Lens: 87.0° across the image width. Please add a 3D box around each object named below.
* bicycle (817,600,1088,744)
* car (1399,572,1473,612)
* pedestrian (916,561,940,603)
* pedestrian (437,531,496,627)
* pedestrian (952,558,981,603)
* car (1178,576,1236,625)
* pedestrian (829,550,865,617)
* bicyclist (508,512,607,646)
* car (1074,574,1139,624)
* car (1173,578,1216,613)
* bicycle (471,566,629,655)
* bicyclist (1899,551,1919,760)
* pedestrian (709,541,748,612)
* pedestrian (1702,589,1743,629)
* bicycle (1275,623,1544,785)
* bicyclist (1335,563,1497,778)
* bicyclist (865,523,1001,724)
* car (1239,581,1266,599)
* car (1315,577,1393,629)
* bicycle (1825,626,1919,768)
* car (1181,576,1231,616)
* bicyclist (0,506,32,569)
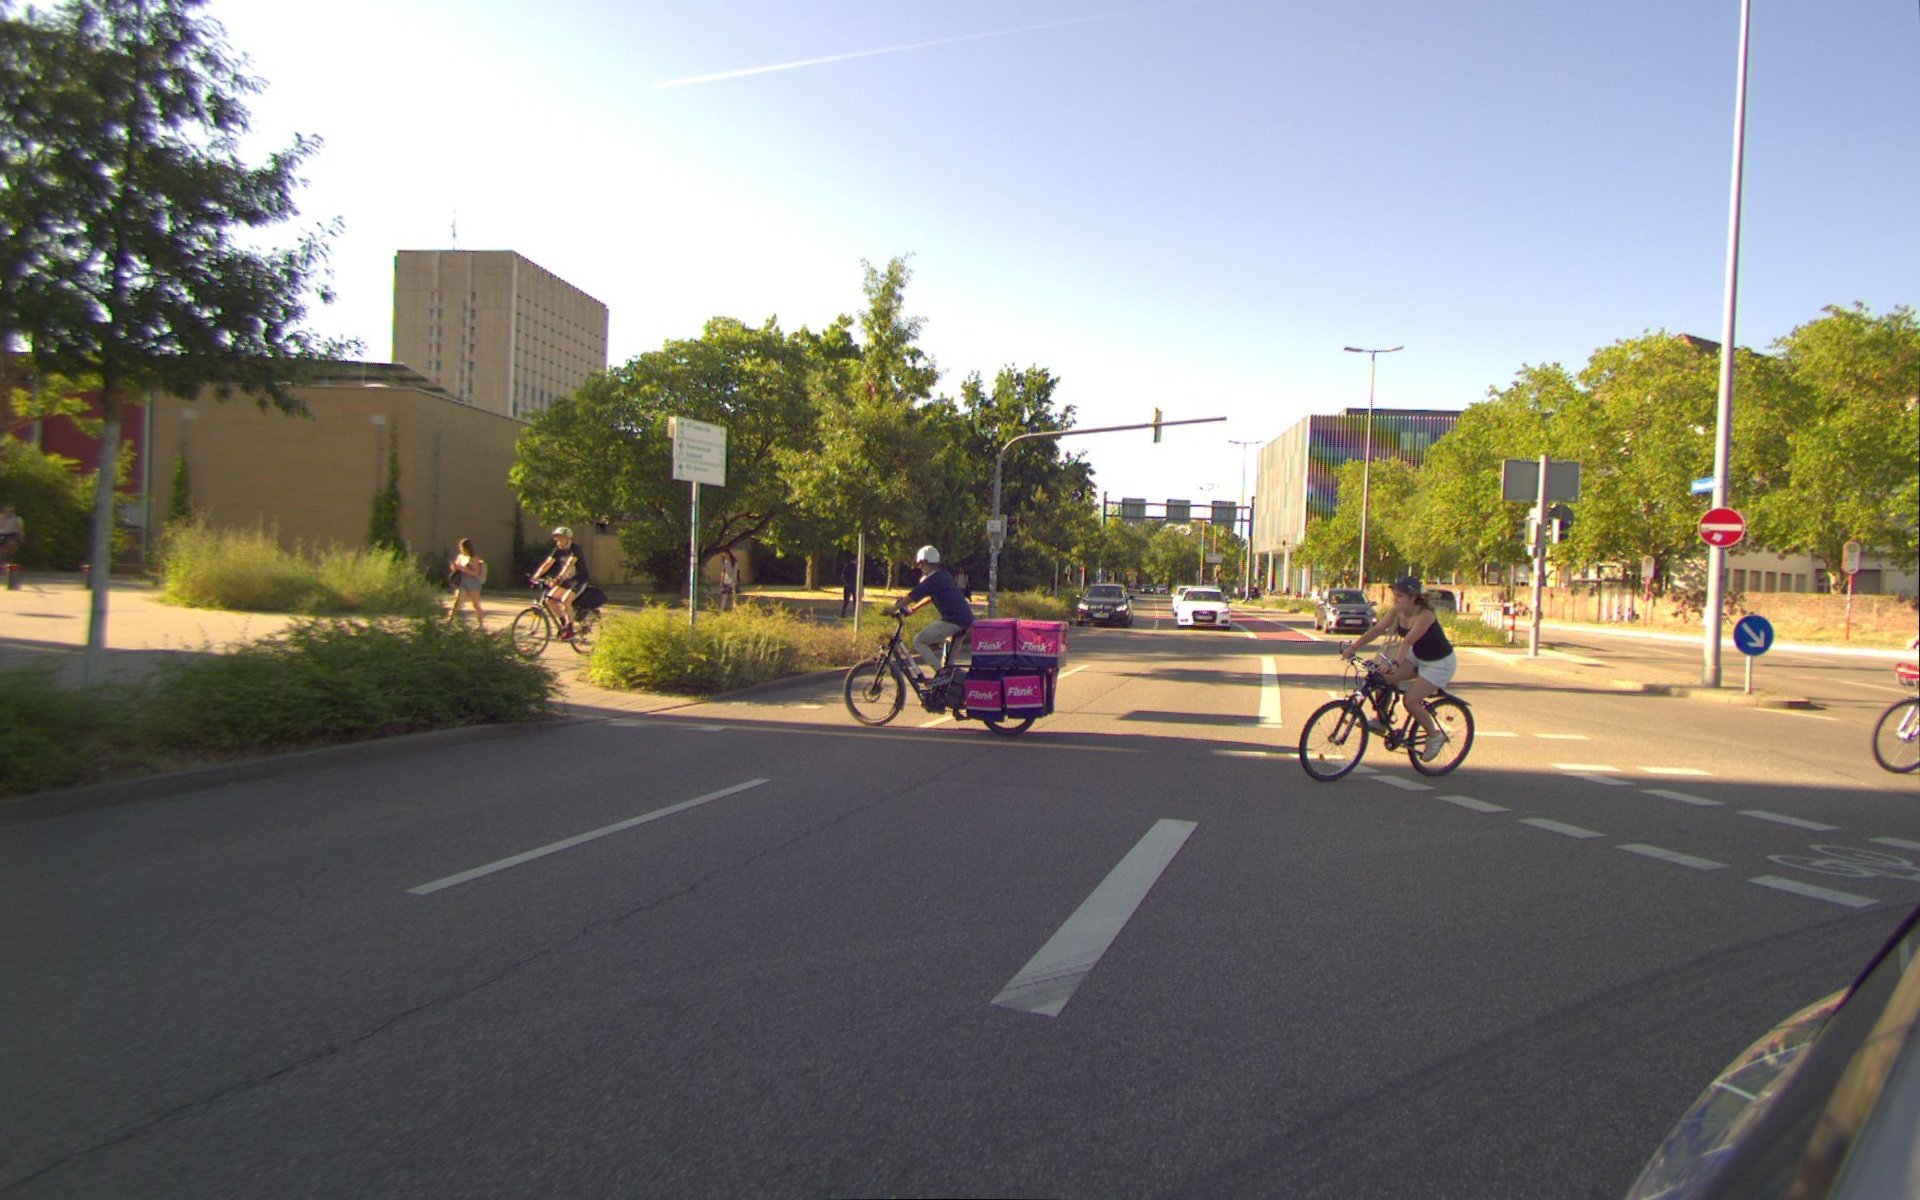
[{"bbox_3d":[-0.091,0.650,9.991,2.550,1.170,0.775,3,2,22],"label":"bicycle"},{"bbox_3d":[22.176,-0.417,47.315,1.969,1.705,4.615,3,2,11],"label":"car"},{"bbox_3d":[-1.217,-0.710,39.045,0.749,1.562,0.846,3,1,5],"label":"pedestrian"},{"bbox_3d":[-8.443,-0.360,17.318,0.613,1.594,0.637,3,1,11],"label":"pedestrian"},{"bbox_3d":[0.267,-0.805,41.178,1.001,1.771,0.848,3,1,6],"label":"pedestrian"},{"bbox_3d":[8.643,-0.046,35.449,1.777,1.537,4.413,3,2,14],"label":"car"},{"bbox_3d":[-3.000,-0.449,26.973,0.701,1.734,0.732,3,1,11],"label":"pedestrian"},{"bbox_3d":[-5.857,-0.318,14.766,0.771,1.853,1.086,3,1,21],"label":"bicyclist"},{"bbox_3d":[5.113,-0.092,34.936,1.777,1.537,3.983,3,2,14],"label":"car"},{"bbox_3d":[11.386,-0.265,49.011,1.897,1.537,4.001,3,2,14],"label":"car"},{"bbox_3d":[-5.895,0.116,14.722,0.771,1.170,2.276,3,2,20],"label":"bicycle"},{"bbox_3d":[8.717,0.486,8.569,0.834,1.810,0.716,0,1,5],"label":"bicyclist"},{"bbox_3d":[-5.825,-0.587,25.455,0.664,1.725,0.876,2,1,6],"label":"pedestrian"},{"bbox_3d":[31.189,0.364,41.418,0.959,1.555,0.920,2,1,12],"label":"pedestrian"},{"bbox_3d":[3.459,0.776,7.824,1.829,1.135,0.721,1,0,-15],"label":"bicycle"},{"bbox_3d":[3.515,0.525,7.837,0.832,1.568,0.719,2,-1,-15],"label":"bicyclist"},{"bbox_3d":[-0.261,0.201,10.059,1.080,1.856,0.775,3,1,21],"label":"bicyclist"},{"bbox_3d":[28.791,-0.978,99.830,1.967,1.615,3.991,2,2,9],"label":"car"},{"bbox_3d":[13.160,0.049,34.014,1.897,1.537,4.001,3,2,14],"label":"car"},{"bbox_3d":[8.705,0.813,8.570,2.030,1.135,0.718,1,1,6],"label":"bicycle"},{"bbox_3d":[10.312,-0.209,42.411,1.897,1.537,4.001,3,2,14],"label":"car"},{"bbox_3d":[-22.848,-1.486,24.186,0.907,1.453,0.618,2,-1,22],"label":"bicyclist"}]
